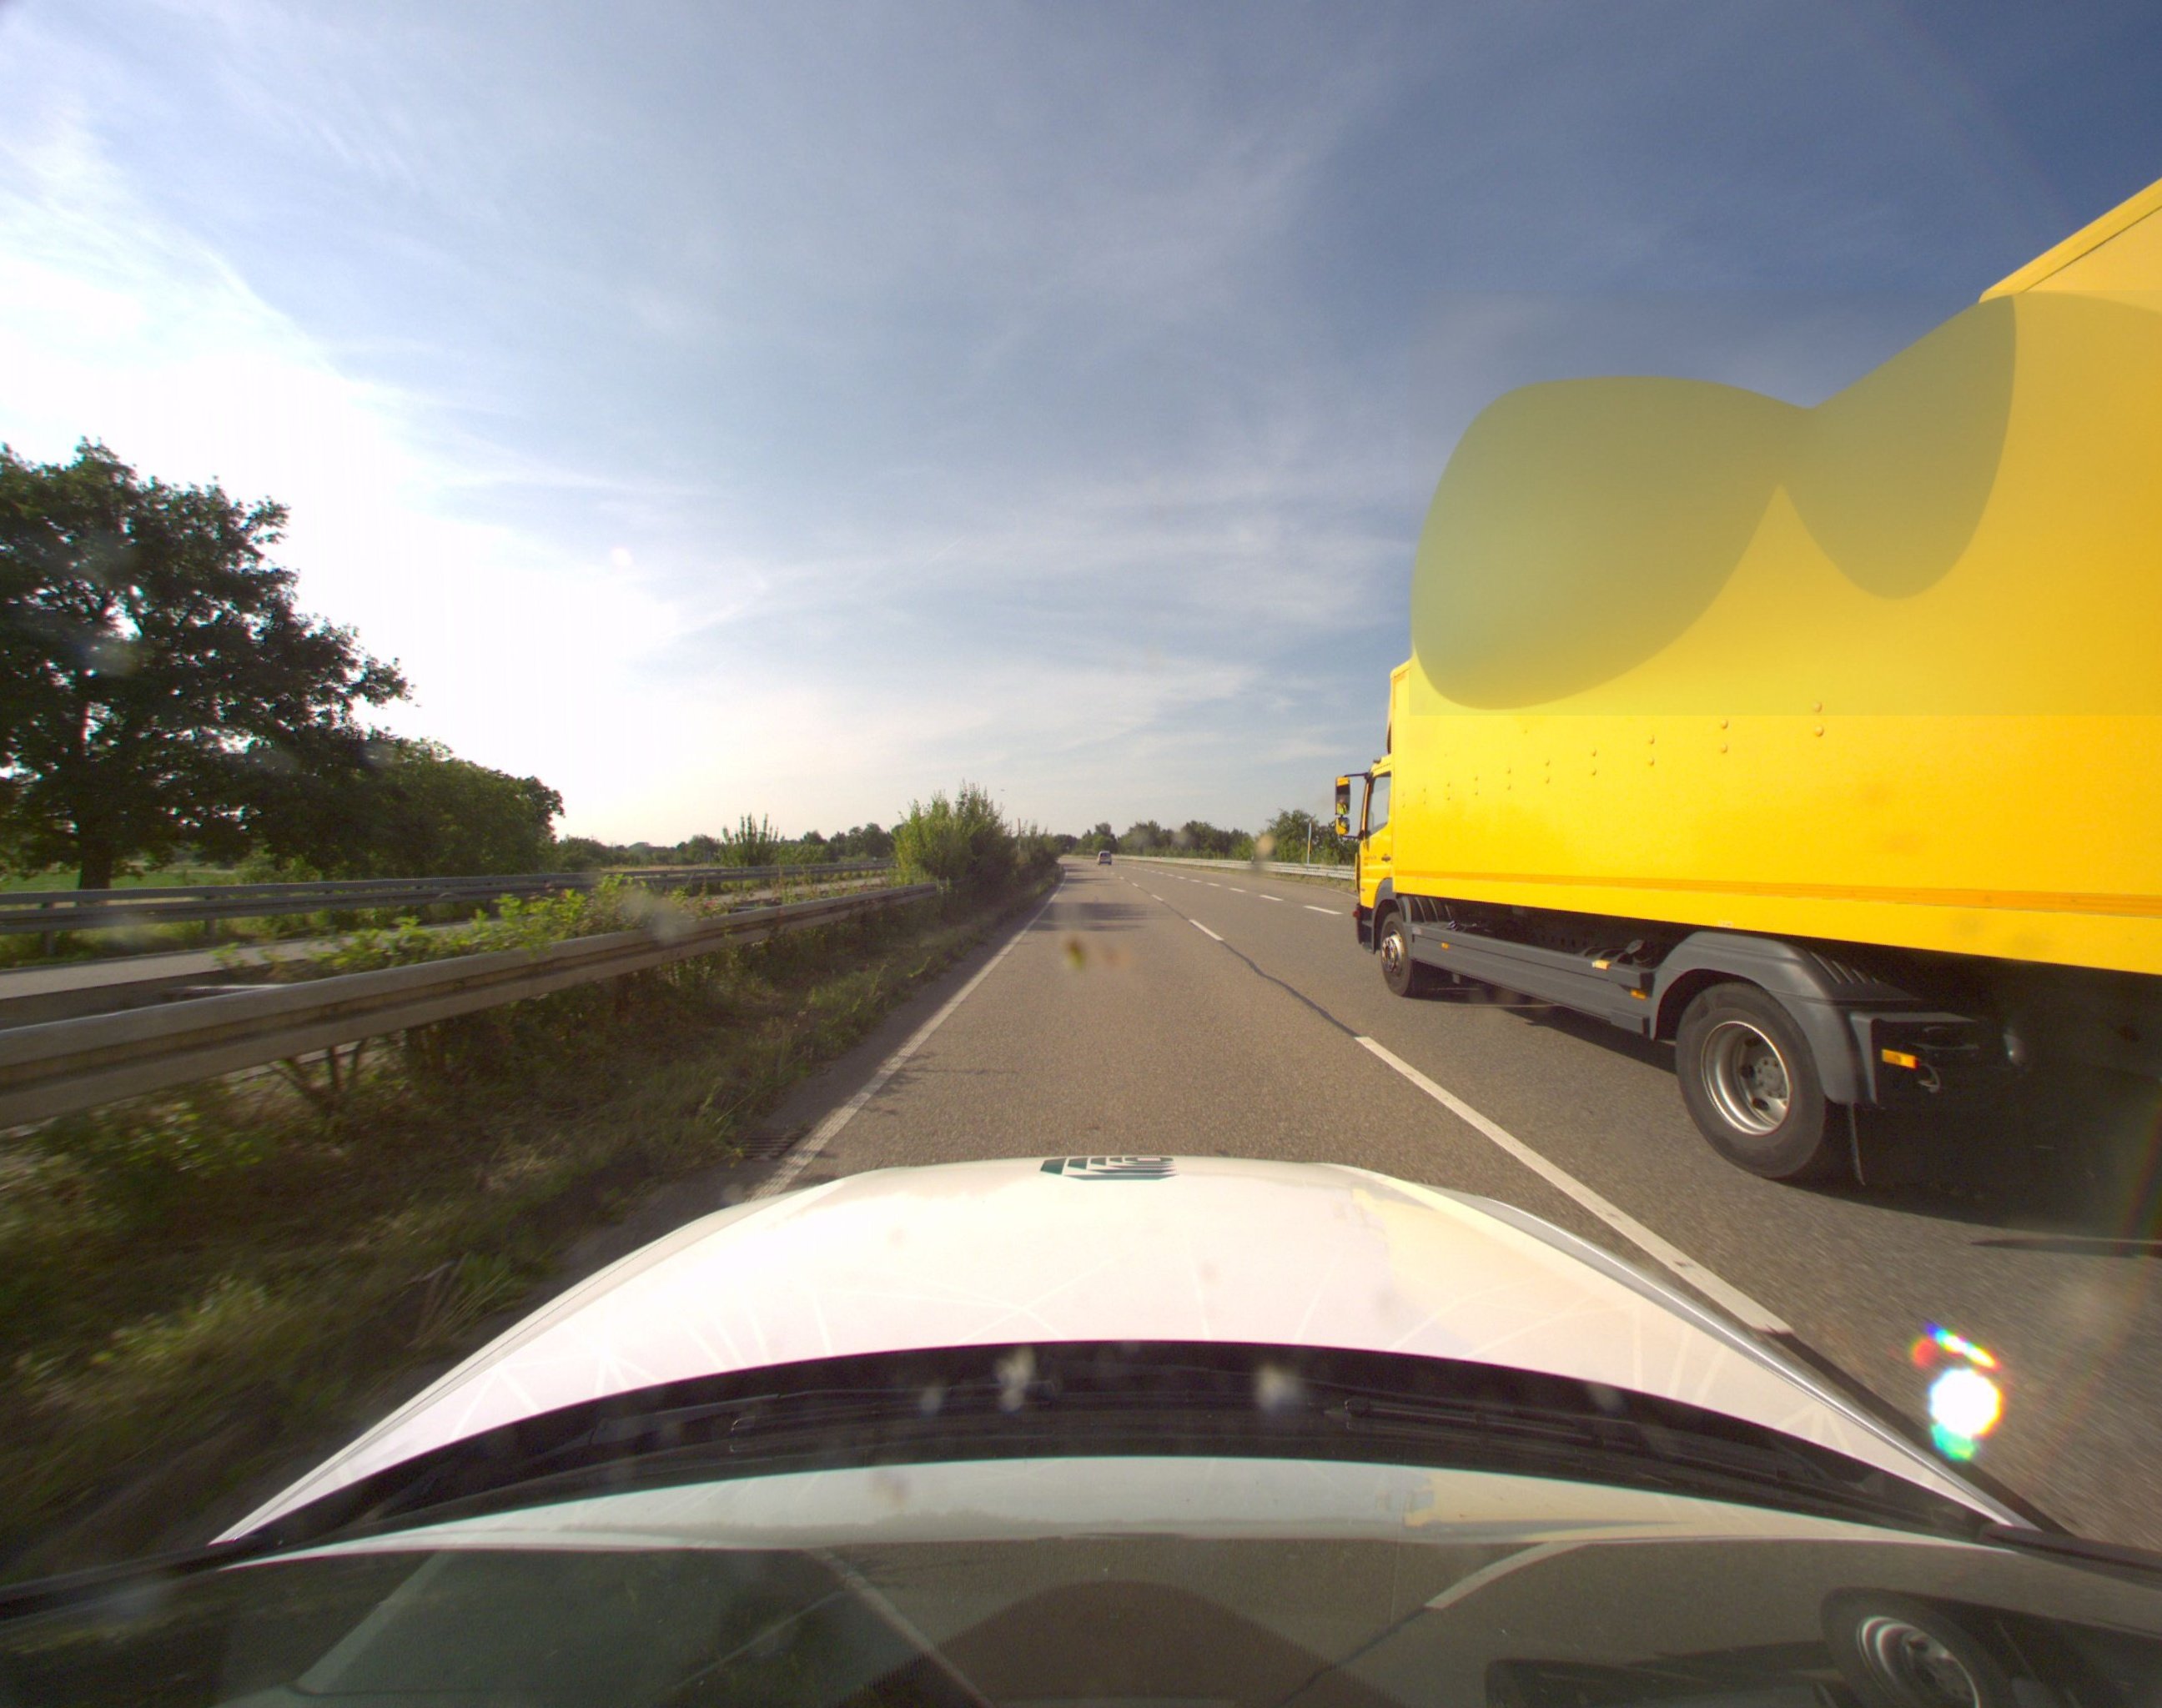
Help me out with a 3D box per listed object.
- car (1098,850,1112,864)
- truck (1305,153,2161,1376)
[{"bbox_3d":[3.161,0.438,109.325,1.760,1.882,4.000,-1,-1,0],"label":"car"},{"bbox_3d":[4.436,-0.272,6.252,2.768,3.316,10.493,-1,0,2],"label":"truck"}]
